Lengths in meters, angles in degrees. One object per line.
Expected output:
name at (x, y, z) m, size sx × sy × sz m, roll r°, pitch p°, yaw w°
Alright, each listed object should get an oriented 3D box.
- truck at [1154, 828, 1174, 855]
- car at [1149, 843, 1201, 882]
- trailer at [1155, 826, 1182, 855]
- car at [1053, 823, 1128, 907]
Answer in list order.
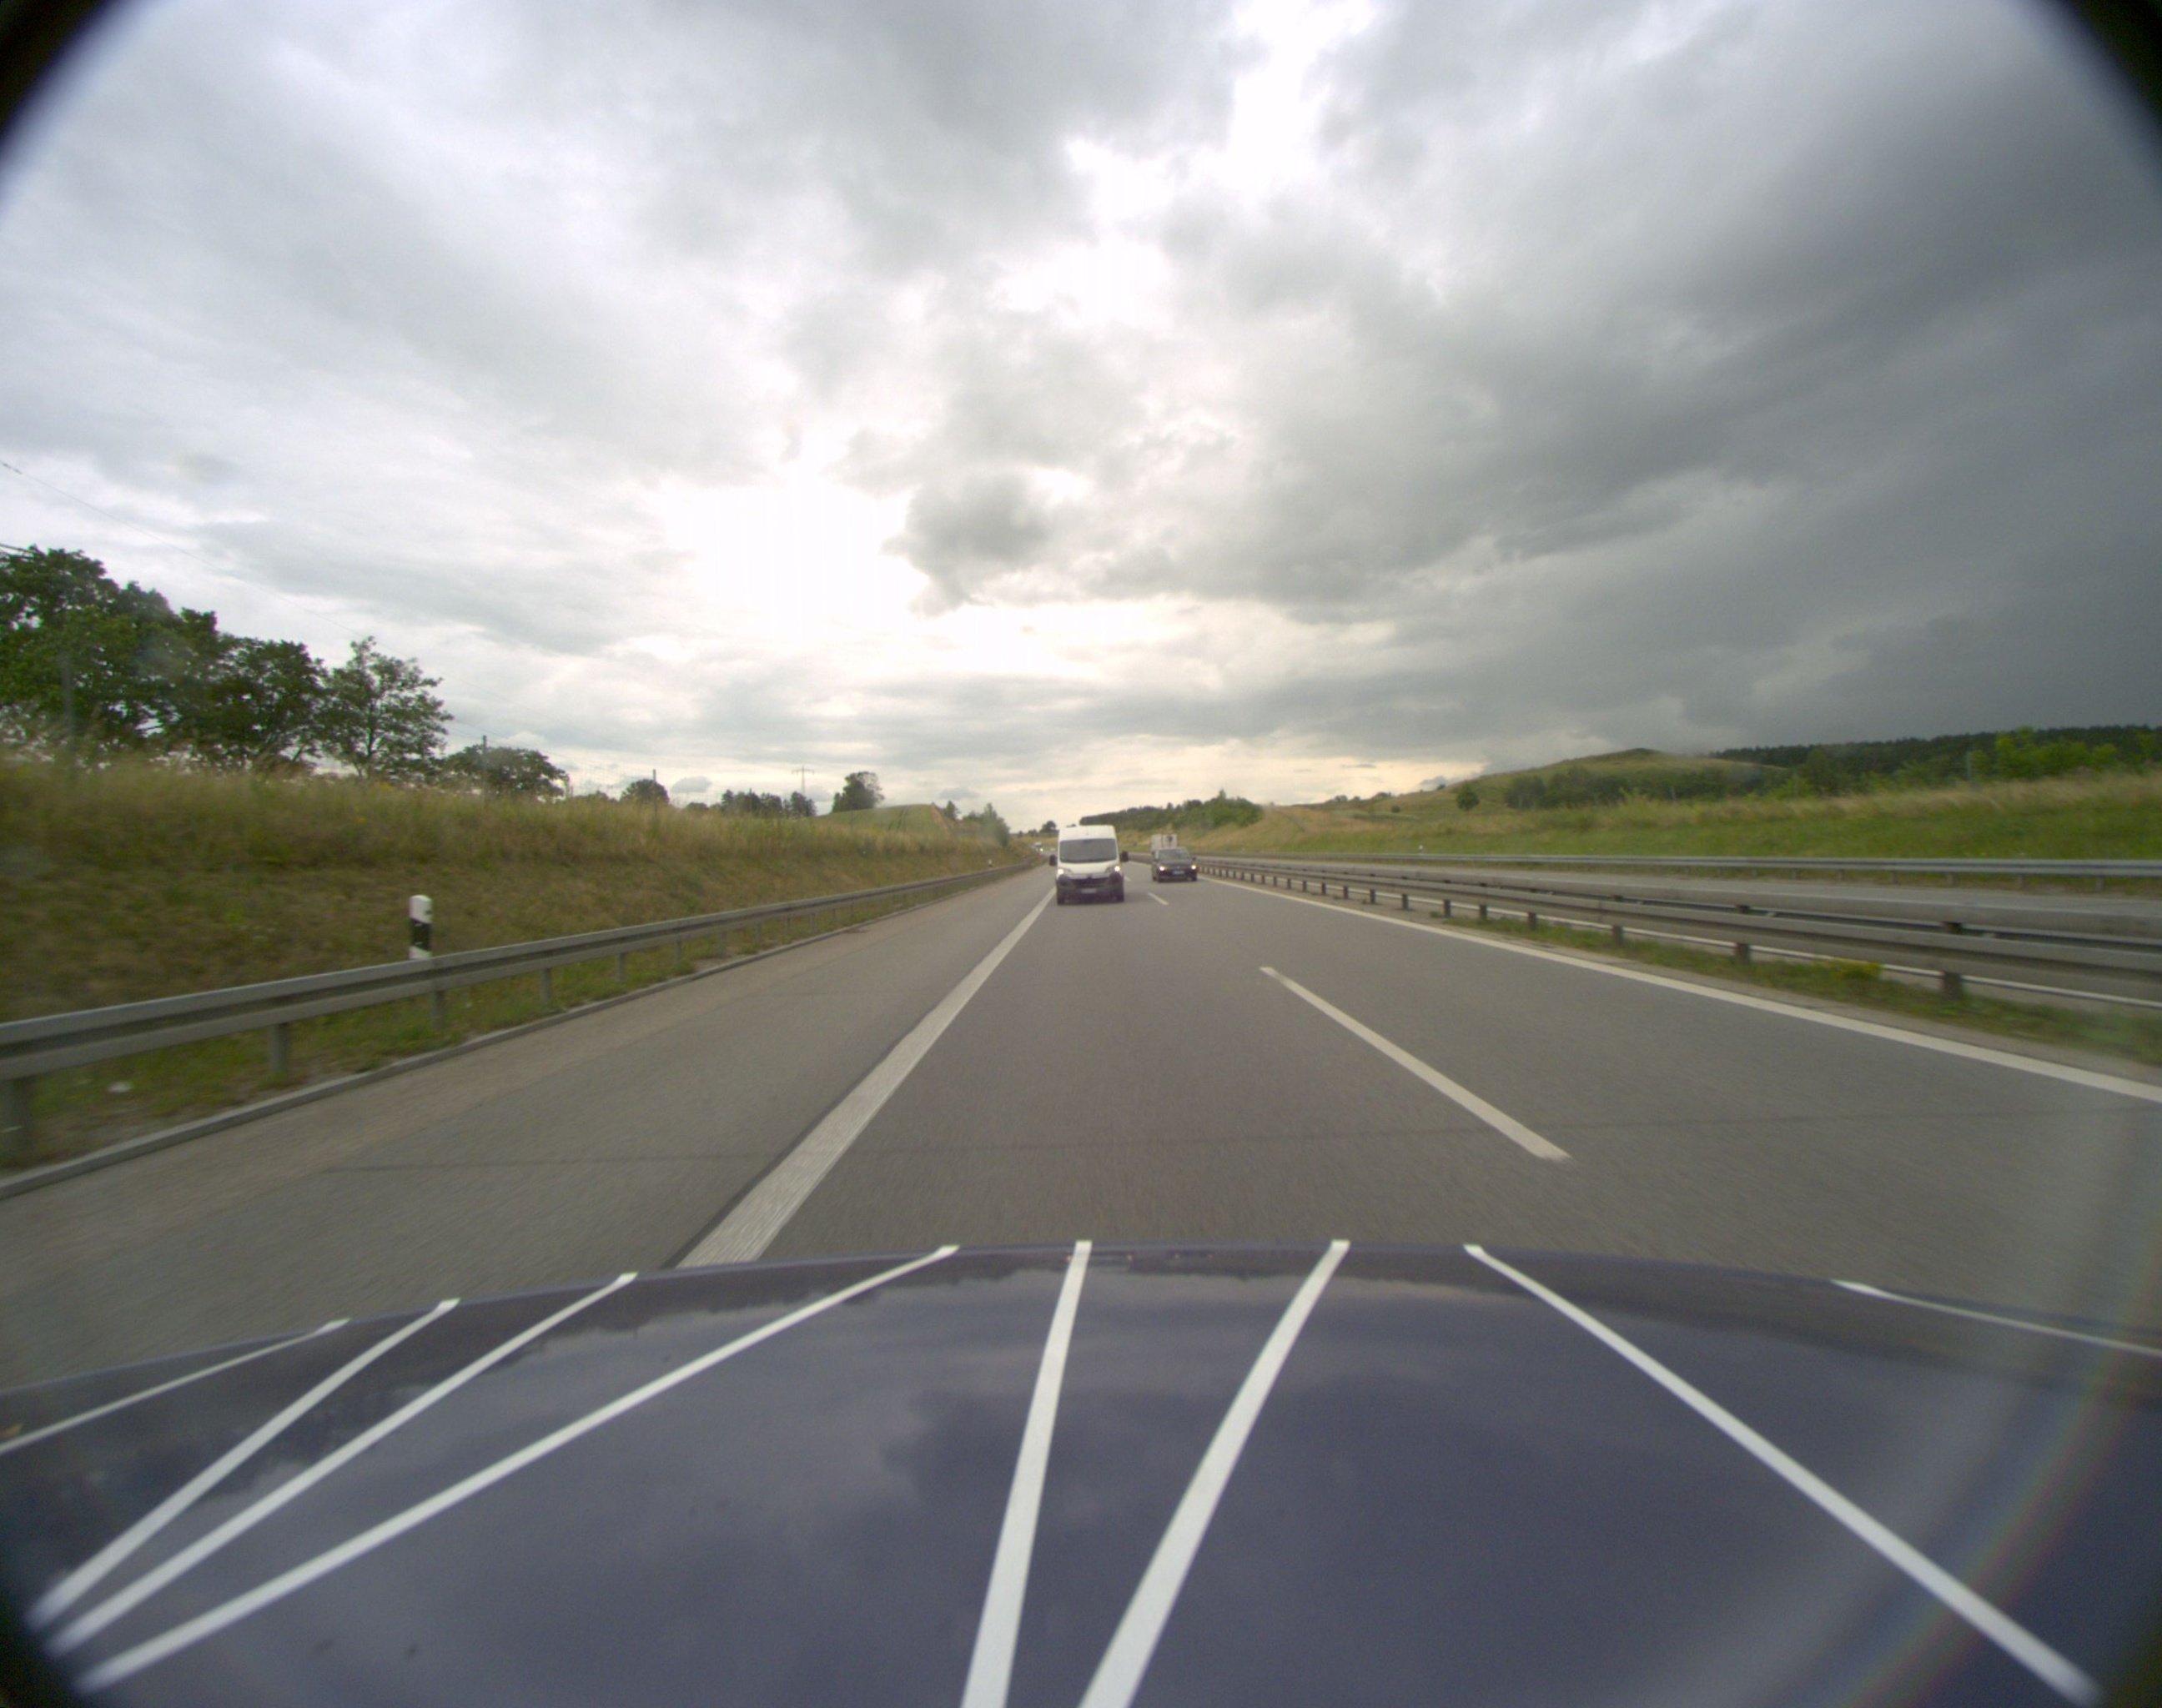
truck at (14.924, -2.261, 137.248) m, size 2.802 × 4.620 × 6.919 m, roll -2°, pitch 1°, yaw 0°
car at (4.438, 0.343, 36.638) m, size 1.901 × 1.661 × 5.396 m, roll -2°, pitch 1°, yaw 2°
trailer at (14.919, -2.225, 130.466) m, size 2.802 × 4.623 × 14.844 m, roll -2°, pitch 1°, yaw 0°
car at (0.274, 0.290, 25.678) m, size 2.132 × 2.412 × 6.110 m, roll -2°, pitch 1°, yaw 0°
